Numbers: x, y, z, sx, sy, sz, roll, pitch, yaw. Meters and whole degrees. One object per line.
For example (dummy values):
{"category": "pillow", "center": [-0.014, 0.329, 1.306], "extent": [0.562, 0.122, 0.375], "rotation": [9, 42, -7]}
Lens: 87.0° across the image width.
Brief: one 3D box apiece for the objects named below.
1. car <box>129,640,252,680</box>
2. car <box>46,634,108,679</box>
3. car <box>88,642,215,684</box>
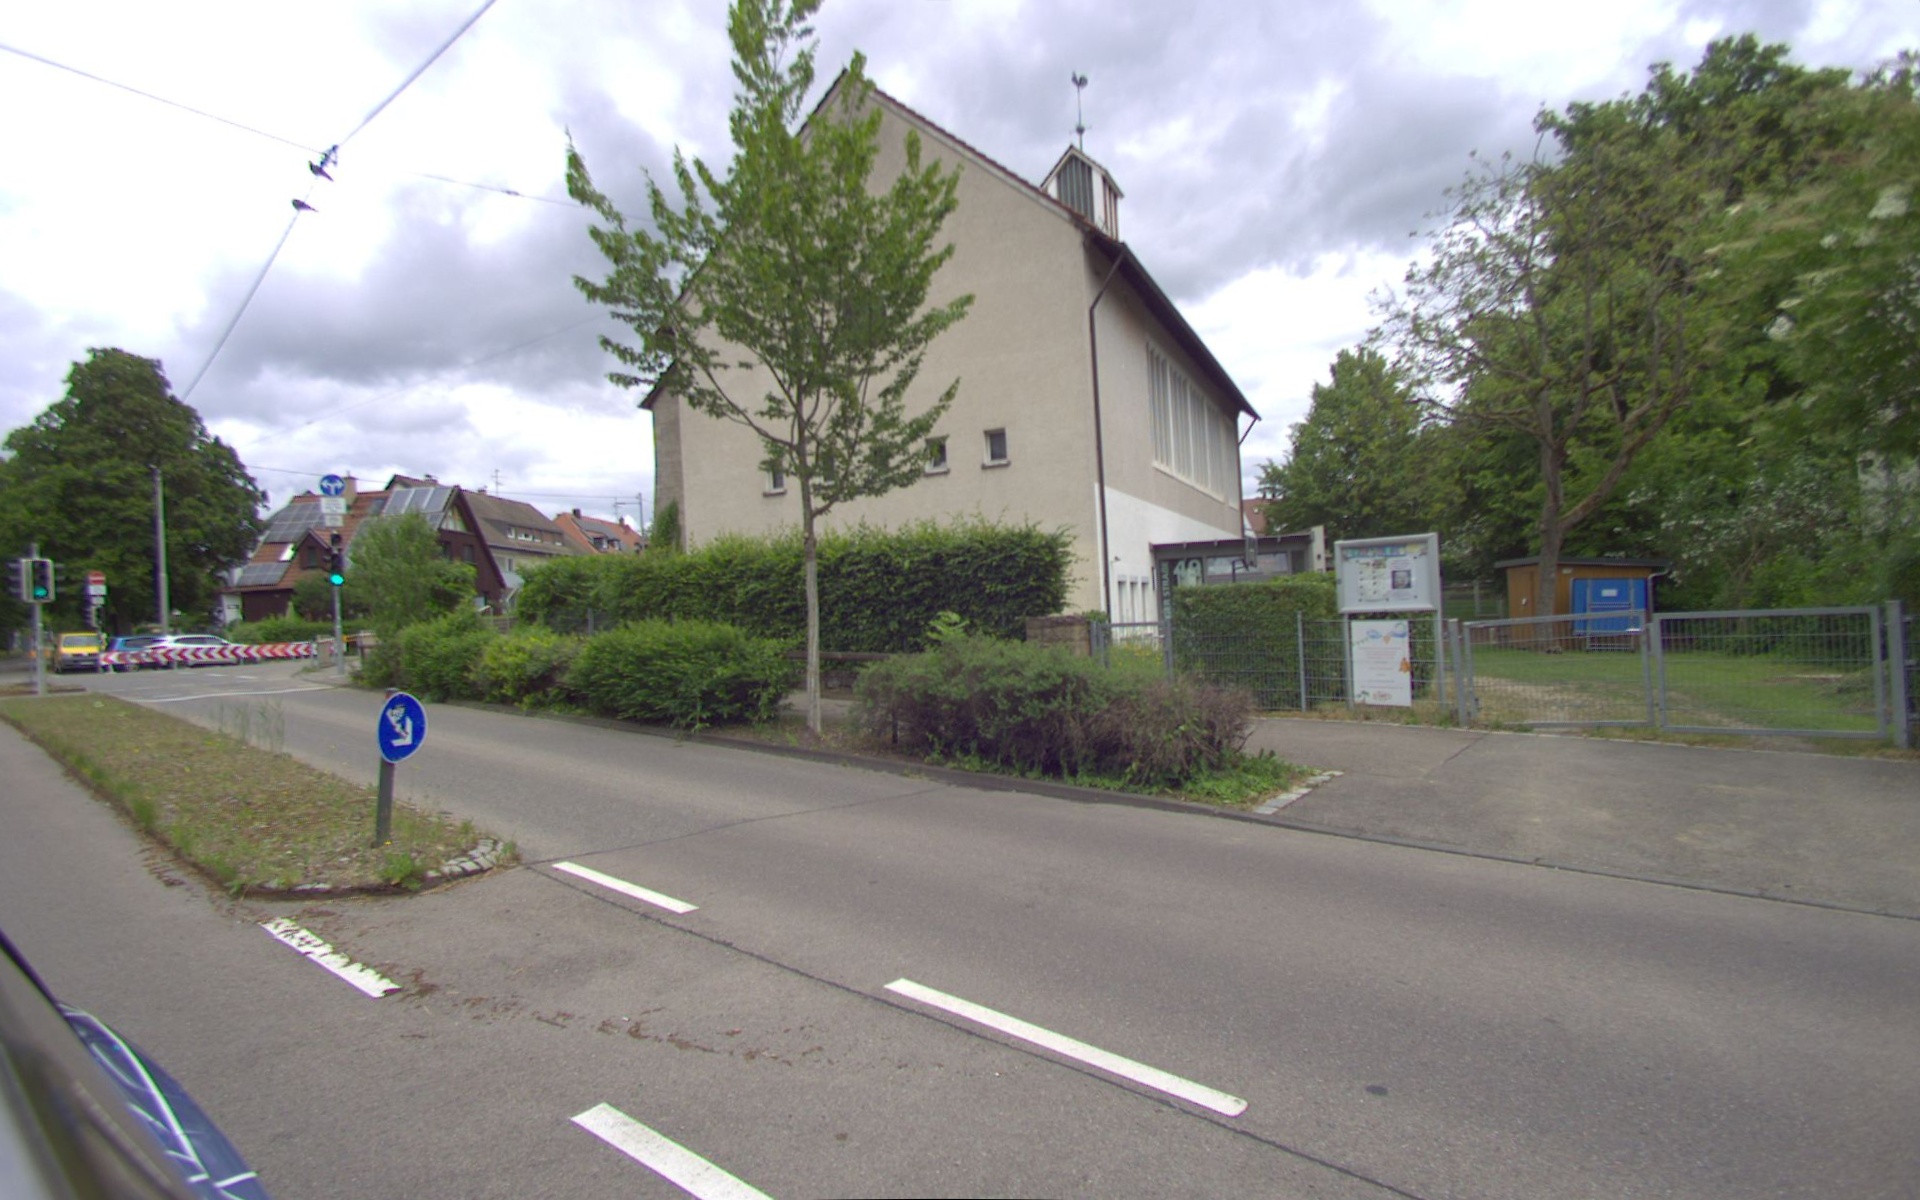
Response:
{"category": "car", "center": [-33.675, 2.614, 44.379], "extent": [1.839, 1.483, 3.863], "rotation": [-4, -2, 32]}
{"category": "car", "center": [-43.124, 2.766, 49.411], "extent": [4.802, 2.004, 1.895], "rotation": [-4, -2, 44]}
{"category": "car", "center": [-36.114, 2.799, 45.293], "extent": [1.844, 1.558, 4.124], "rotation": [-5, -2, 39]}
